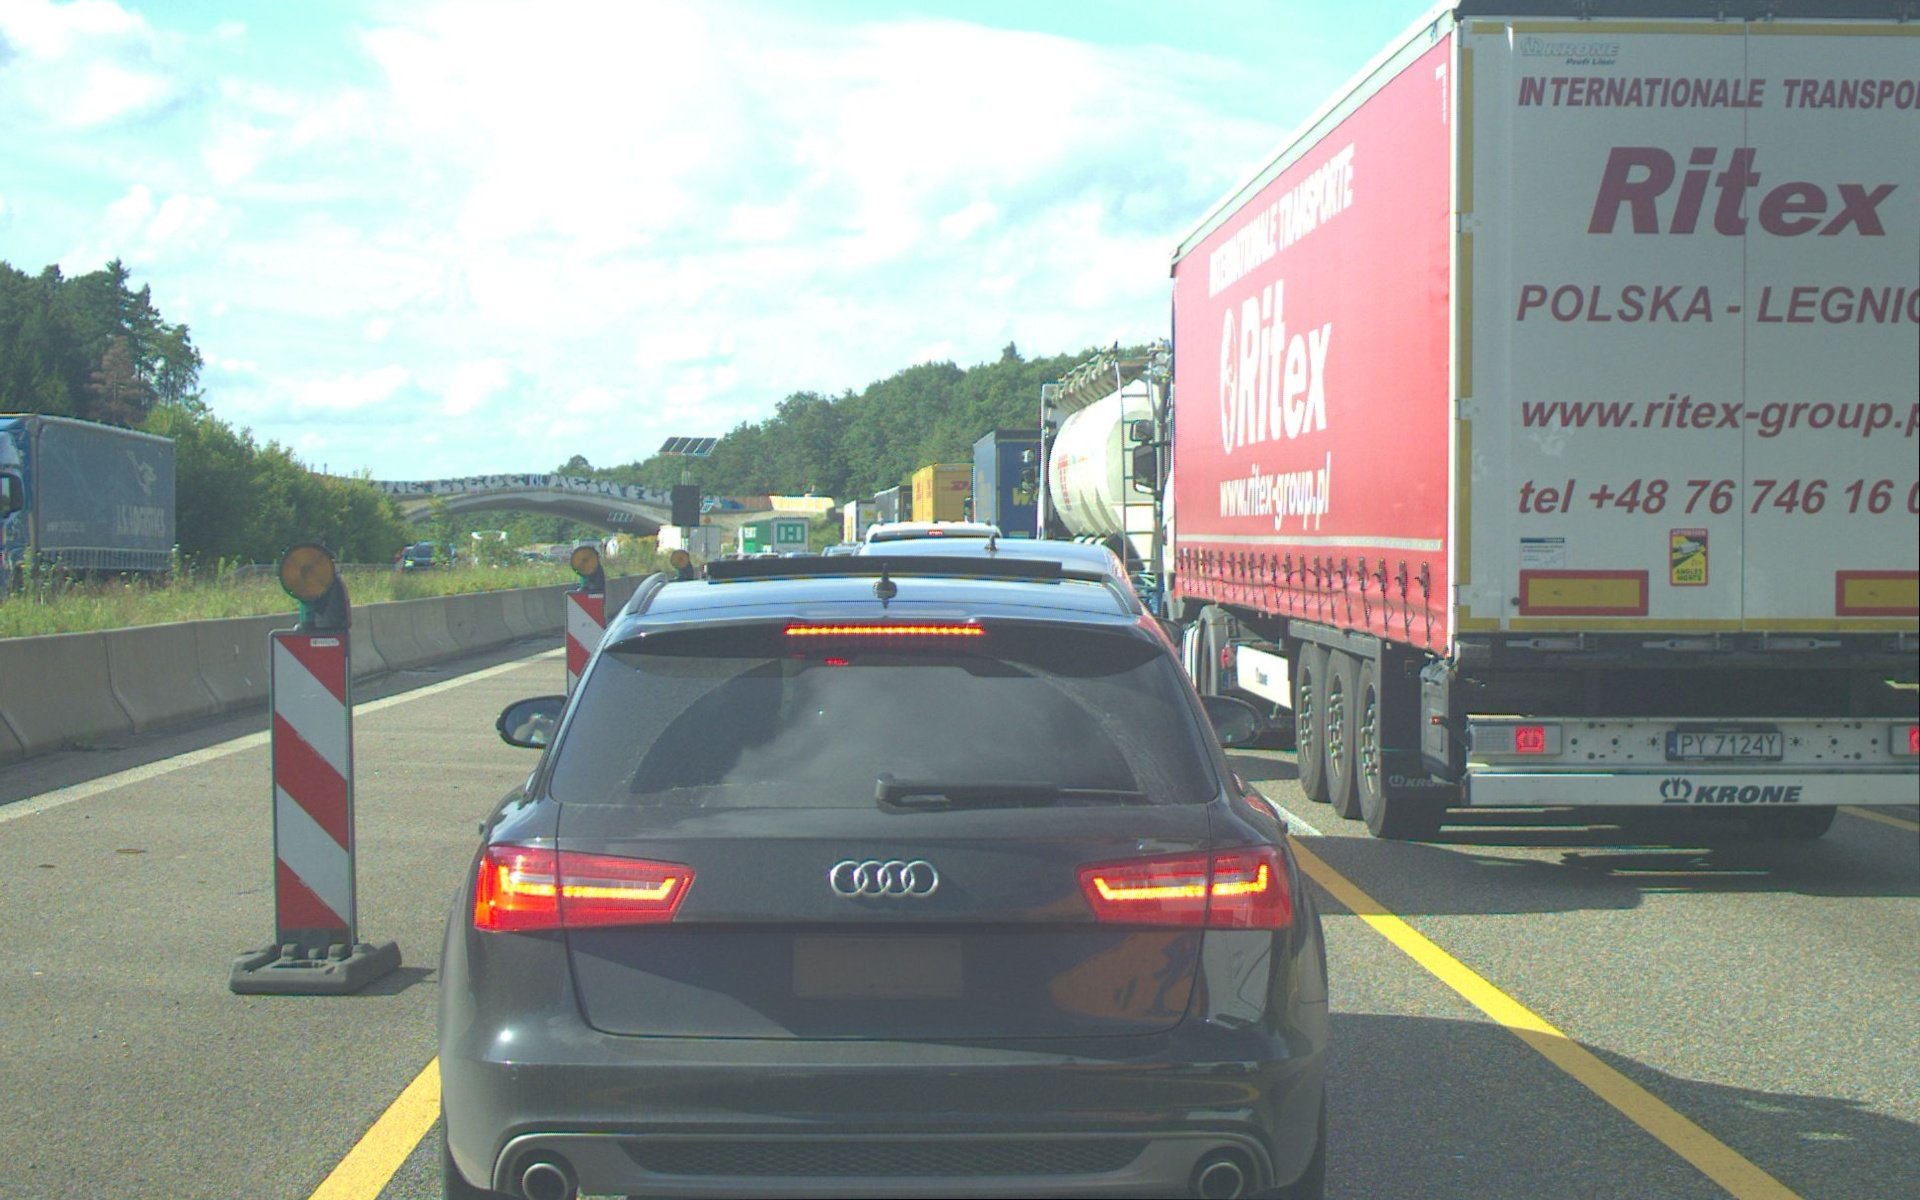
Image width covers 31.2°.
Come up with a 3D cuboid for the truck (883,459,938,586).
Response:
[{"bbox_3d":[-2.035,-3.099,138.821,1.993,4.897,9.563,1,1,-2],"label":"truck"}]

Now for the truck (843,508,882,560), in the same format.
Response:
[{"bbox_3d":[-6.699,-4.492,235.403,2.566,3.455,7.399,1,0,-2],"label":"truck"}]

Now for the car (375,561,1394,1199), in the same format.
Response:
[{"bbox_3d":[-0.160,0.648,8.264,1.848,1.458,4.000,0,0,-1],"label":"car"}]

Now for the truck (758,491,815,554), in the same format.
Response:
[{"bbox_3d":[-11.940,-5.284,236.161,3.303,4.160,9.704,1,0,-6],"label":"truck"}]

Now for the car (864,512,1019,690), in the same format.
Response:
[{"bbox_3d":[-0.210,-0.005,37.421,1.581,1.830,3.112,1,0,-1],"label":"car"}]

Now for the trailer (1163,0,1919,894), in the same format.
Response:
[{"bbox_3d":[3.190,-0.832,21.478,2.699,3.955,13.418,1,1,-1],"label":"trailer"}]

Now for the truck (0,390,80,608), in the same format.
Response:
[{"bbox_3d":[-19.623,-2.001,68.811,2.637,4.175,5.468,1,1,-1],"label":"truck"}]

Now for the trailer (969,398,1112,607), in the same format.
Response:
[{"bbox_3d":[1.714,-2.109,78.253,2.805,4.398,10.433,1,0,-1],"label":"trailer"}]

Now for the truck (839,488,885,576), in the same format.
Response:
[{"bbox_3d":[-4.840,-3.345,170.644,2.137,4.243,7.072,1,0,-1],"label":"truck"}]

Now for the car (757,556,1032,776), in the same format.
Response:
[{"bbox_3d":[-0.445,0.413,23.975,1.751,1.392,3.608,1,0,-1],"label":"car"}]

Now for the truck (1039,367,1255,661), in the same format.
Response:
[{"bbox_3d":[2.614,-1.199,49.687,2.659,3.958,5.779,1,0,-1],"label":"truck"}]

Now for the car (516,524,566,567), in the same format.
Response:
[{"bbox_3d":[-19.716,-2.548,161.840,1.993,1.941,4.000,1,0,-2],"label":"car"}]

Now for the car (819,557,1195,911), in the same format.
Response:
[{"bbox_3d":[0.175,0.538,15.800,1.524,1.434,3.285,1,0,-1],"label":"car"}]

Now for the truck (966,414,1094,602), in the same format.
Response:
[{"bbox_3d":[1.645,-2.176,84.128,2.806,4.354,7.792,1,0,-1],"label":"truck"}]

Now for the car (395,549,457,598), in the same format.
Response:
[{"bbox_3d":[-19.207,-0.955,123.712,1.715,1.700,3.523,1,0,-1],"label":"car"}]

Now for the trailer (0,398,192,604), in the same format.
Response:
[{"bbox_3d":[-19.702,-2.116,75.868,2.619,4.127,13.373,1,1,-1],"label":"trailer"}]

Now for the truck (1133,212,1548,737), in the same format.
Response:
[{"bbox_3d":[3.029,-0.996,28.910,2.667,3.946,5.711,1,1,-1],"label":"truck"}]

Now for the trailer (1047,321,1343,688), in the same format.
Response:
[{"bbox_3d":[2.703,-1.125,43.513,2.644,3.929,12.598,1,1,-1],"label":"trailer"}]

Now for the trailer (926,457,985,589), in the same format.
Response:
[{"bbox_3d":[-0.164,-2.307,105.518,1.616,3.905,6.490,1,0,-1],"label":"trailer"}]
